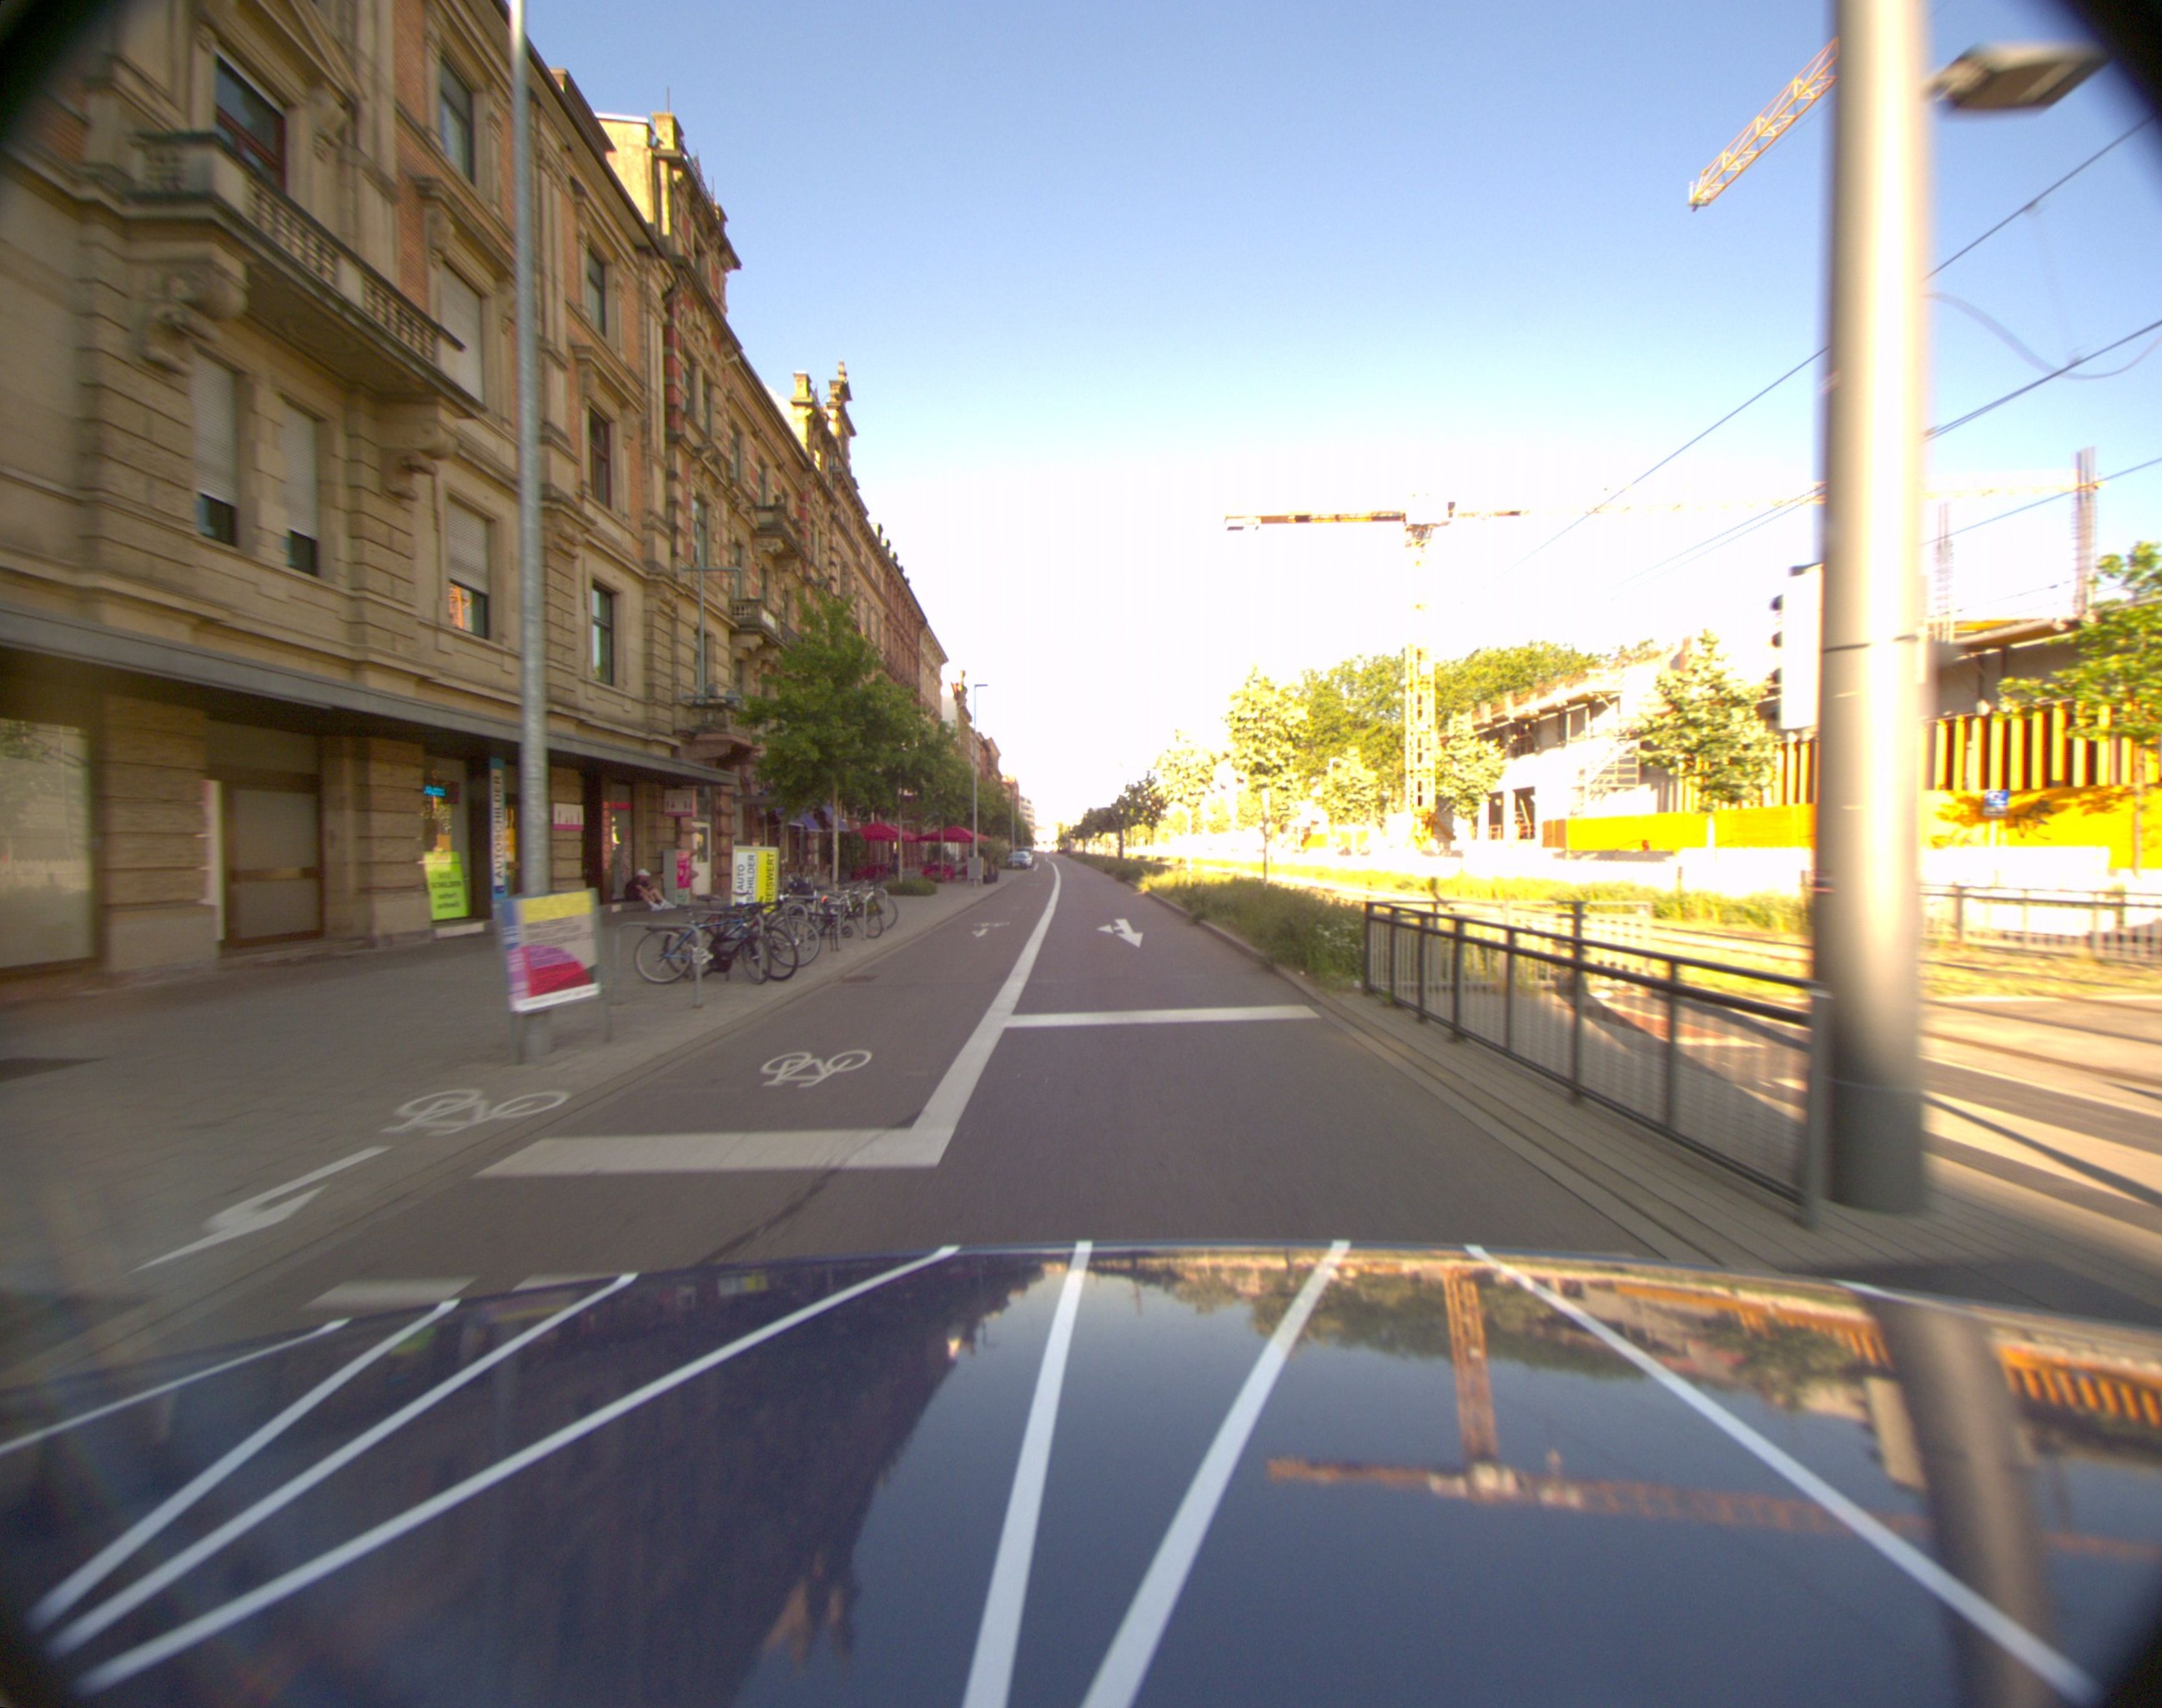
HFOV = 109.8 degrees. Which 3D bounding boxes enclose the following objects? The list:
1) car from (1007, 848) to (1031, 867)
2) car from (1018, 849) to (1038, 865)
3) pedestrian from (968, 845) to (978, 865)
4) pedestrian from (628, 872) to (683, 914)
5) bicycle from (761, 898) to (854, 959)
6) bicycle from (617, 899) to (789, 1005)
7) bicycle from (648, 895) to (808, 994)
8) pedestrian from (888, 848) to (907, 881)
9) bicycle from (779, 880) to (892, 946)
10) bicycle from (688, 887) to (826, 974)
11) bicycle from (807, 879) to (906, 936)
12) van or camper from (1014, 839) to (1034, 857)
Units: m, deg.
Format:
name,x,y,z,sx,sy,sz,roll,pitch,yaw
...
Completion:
name,x,y,z,sx,sy,sz,roll,pitch,yaw
car,-5.431,0.292,66.691,1.853,1.555,4.295,1,1,-2
car,-5.050,0.273,72.768,1.854,1.446,5.249,1,1,-3
pedestrian,-9.946,0.083,70.124,0.749,1.745,1.071,0,2,-2
pedestrian,-10.117,0.919,18.100,0.815,0.957,0.804,-1,1,0
bicycle,-4.340,1.175,12.090,1.277,0.872,0.507,1,2,4
bicycle,-4.341,1.114,8.770,1.757,1.098,0.507,1,2,4
bicycle,-4.330,1.091,9.361,1.757,1.098,0.507,1,2,4
pedestrian,-8.646,0.487,35.880,0.730,1.525,0.796,1,2,-2
bicycle,-4.425,1.055,13.738,1.848,1.098,0.566,1,2,4
bicycle,-4.524,1.055,10.639,1.725,1.098,0.507,1,2,4
bicycle,-4.495,1.054,15.248,1.809,1.041,0.566,1,2,4
van or camper,-6.431,-0.744,86.337,1.966,1.961,5.485,1,1,-2
